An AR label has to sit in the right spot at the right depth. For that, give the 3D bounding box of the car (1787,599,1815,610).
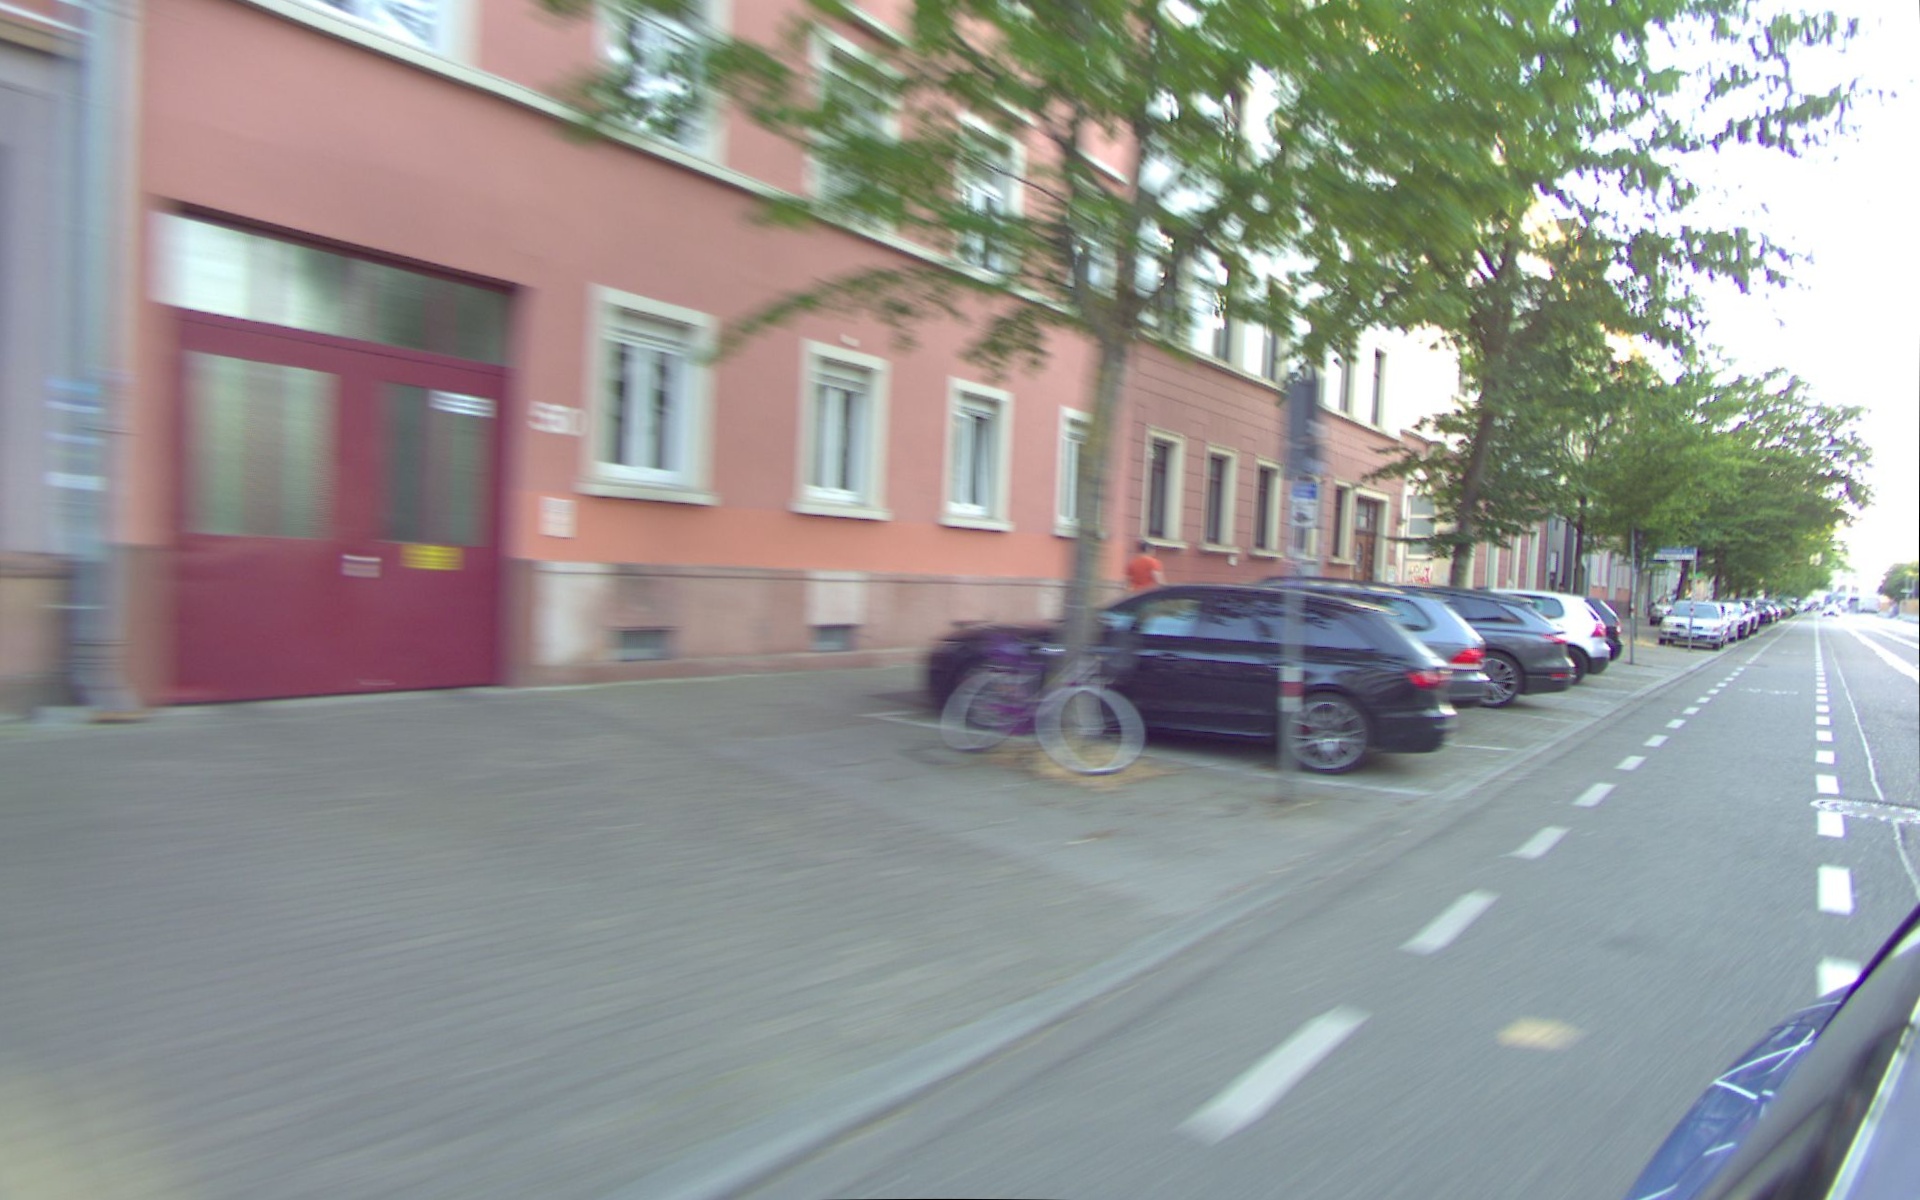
[{"bbox_3d":[159.183,0.848,191.506,3.982,1.711,1.695,6,3,42],"label":"car"}]

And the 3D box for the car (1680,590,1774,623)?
[{"bbox_3d":[44.414,0.351,58.681,3.932,1.572,1.706,5,2,24],"label":"car"}]

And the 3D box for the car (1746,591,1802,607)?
[{"bbox_3d":[92.732,-0.130,115.326,4.572,1.535,1.802,5,2,15],"label":"car"}]

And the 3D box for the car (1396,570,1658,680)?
[{"bbox_3d":[9.562,0.361,17.394,3.518,1.534,1.735,4,3,17],"label":"car"}]

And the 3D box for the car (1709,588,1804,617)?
[{"bbox_3d":[50.681,0.119,64.477,4.345,1.481,1.706,5,2,24],"label":"car"}]

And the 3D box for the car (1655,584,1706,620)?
[{"bbox_3d":[35.433,0.091,49.756,1.875,1.603,3.968,4,3,36],"label":"car"}]

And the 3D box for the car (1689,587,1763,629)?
[{"bbox_3d":[31.354,0.283,41.373,1.993,1.507,4.960,5,4,41],"label":"car"}]

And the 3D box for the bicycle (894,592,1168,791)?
[{"bbox_3d":[0.477,0.568,7.243,1.689,1.115,0.914,6,4,41],"label":"bicycle"}]

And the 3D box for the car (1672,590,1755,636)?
[{"bbox_3d":[26.859,0.434,36.002,1.781,1.397,4.618,7,5,43],"label":"car"}]

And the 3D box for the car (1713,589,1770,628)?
[{"bbox_3d":[37.490,0.372,48.513,1.879,1.637,4.200,7,5,40],"label":"car"}]

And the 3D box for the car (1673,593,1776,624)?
[{"bbox_3d":[42.583,0.455,56.447,4.204,1.405,1.613,3,2,16],"label":"car"}]

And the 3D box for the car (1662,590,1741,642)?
[{"bbox_3d":[23.247,0.462,31.689,1.618,1.397,3.720,6,4,40],"label":"car"}]

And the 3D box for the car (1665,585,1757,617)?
[{"bbox_3d":[44.890,0.060,60.588,3.952,1.613,1.708,4,2,21],"label":"car"}]

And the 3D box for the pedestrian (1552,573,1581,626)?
[{"bbox_3d":[21.435,-0.015,35.767,0.680,1.838,0.591,3,2,42],"label":"pedestrian"}]

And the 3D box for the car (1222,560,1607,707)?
[{"bbox_3d":[5.971,0.349,13.882,4.402,1.534,2.051,4,3,19],"label":"car"}]

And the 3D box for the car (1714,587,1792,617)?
[{"bbox_3d":[57.954,0.152,74.052,3.952,1.838,1.812,5,2,20],"label":"car"}]

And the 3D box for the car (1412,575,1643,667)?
[{"bbox_3d":[10.856,0.355,19.644,3.518,1.446,1.661,4,3,17],"label":"car"}]

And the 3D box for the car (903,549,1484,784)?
[{"bbox_3d":[1.946,0.441,9.103,4.559,1.474,1.702,5,3,17],"label":"car"}]

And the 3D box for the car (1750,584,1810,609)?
[{"bbox_3d":[101.443,-0.468,125.252,5.180,2.652,1.912,5,3,25],"label":"car"}]

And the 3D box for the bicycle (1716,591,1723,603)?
[{"bbox_3d":[77.285,-0.292,102.984,0.469,1.225,1.757,3,2,40],"label":"bicycle"}]

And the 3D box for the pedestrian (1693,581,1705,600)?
[{"bbox_3d":[71.386,-0.914,97.793,0.599,1.854,0.561,5,1,-12],"label":"pedestrian"}]

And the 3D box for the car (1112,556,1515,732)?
[{"bbox_3d":[3.882,0.381,11.619,3.947,1.509,1.822,4,4,17],"label":"car"}]

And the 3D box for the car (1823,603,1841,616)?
[{"bbox_3d":[128.778,1.403,149.455,1.992,1.705,3.940,3,1,41],"label":"car"}]
